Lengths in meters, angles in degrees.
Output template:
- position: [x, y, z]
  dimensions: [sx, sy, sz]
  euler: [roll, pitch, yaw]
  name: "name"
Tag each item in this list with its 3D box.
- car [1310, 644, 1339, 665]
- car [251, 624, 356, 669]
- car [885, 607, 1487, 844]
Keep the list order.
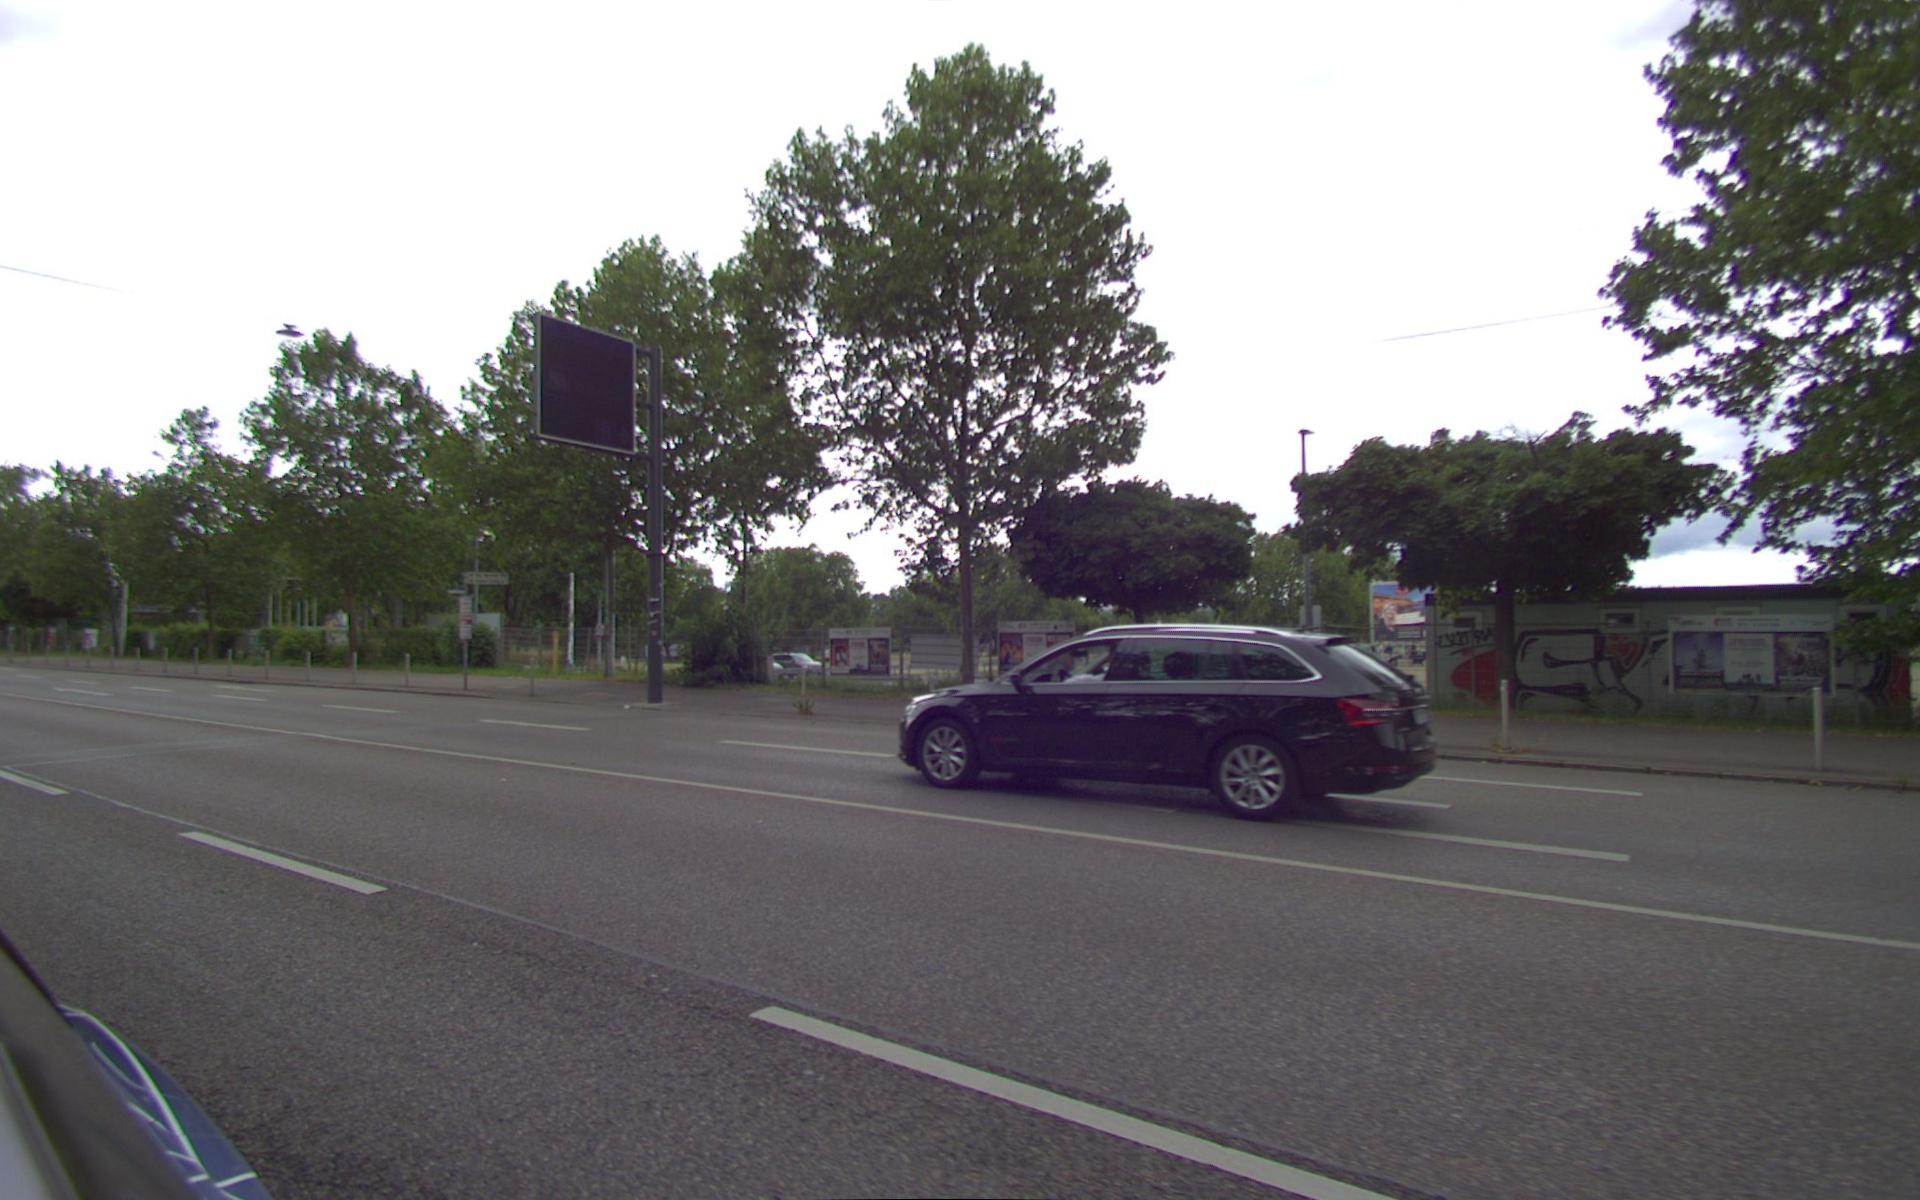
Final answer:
- position: [33.912, 5.026, 94.176]
  dimensions: [1.991, 1.716, 3.950]
  euler: [-1, 0, 28]
  name: "car"
- position: [-30.892, 2.158, 47.584]
  dimensions: [4.620, 2.029, 2.368]
  euler: [-1, -3, 32]
  name: "car"
- position: [1.803, 0.910, 8.791]
  dimensions: [4.714, 1.542, 1.977]
  euler: [-2, -3, 35]
  name: "car"
